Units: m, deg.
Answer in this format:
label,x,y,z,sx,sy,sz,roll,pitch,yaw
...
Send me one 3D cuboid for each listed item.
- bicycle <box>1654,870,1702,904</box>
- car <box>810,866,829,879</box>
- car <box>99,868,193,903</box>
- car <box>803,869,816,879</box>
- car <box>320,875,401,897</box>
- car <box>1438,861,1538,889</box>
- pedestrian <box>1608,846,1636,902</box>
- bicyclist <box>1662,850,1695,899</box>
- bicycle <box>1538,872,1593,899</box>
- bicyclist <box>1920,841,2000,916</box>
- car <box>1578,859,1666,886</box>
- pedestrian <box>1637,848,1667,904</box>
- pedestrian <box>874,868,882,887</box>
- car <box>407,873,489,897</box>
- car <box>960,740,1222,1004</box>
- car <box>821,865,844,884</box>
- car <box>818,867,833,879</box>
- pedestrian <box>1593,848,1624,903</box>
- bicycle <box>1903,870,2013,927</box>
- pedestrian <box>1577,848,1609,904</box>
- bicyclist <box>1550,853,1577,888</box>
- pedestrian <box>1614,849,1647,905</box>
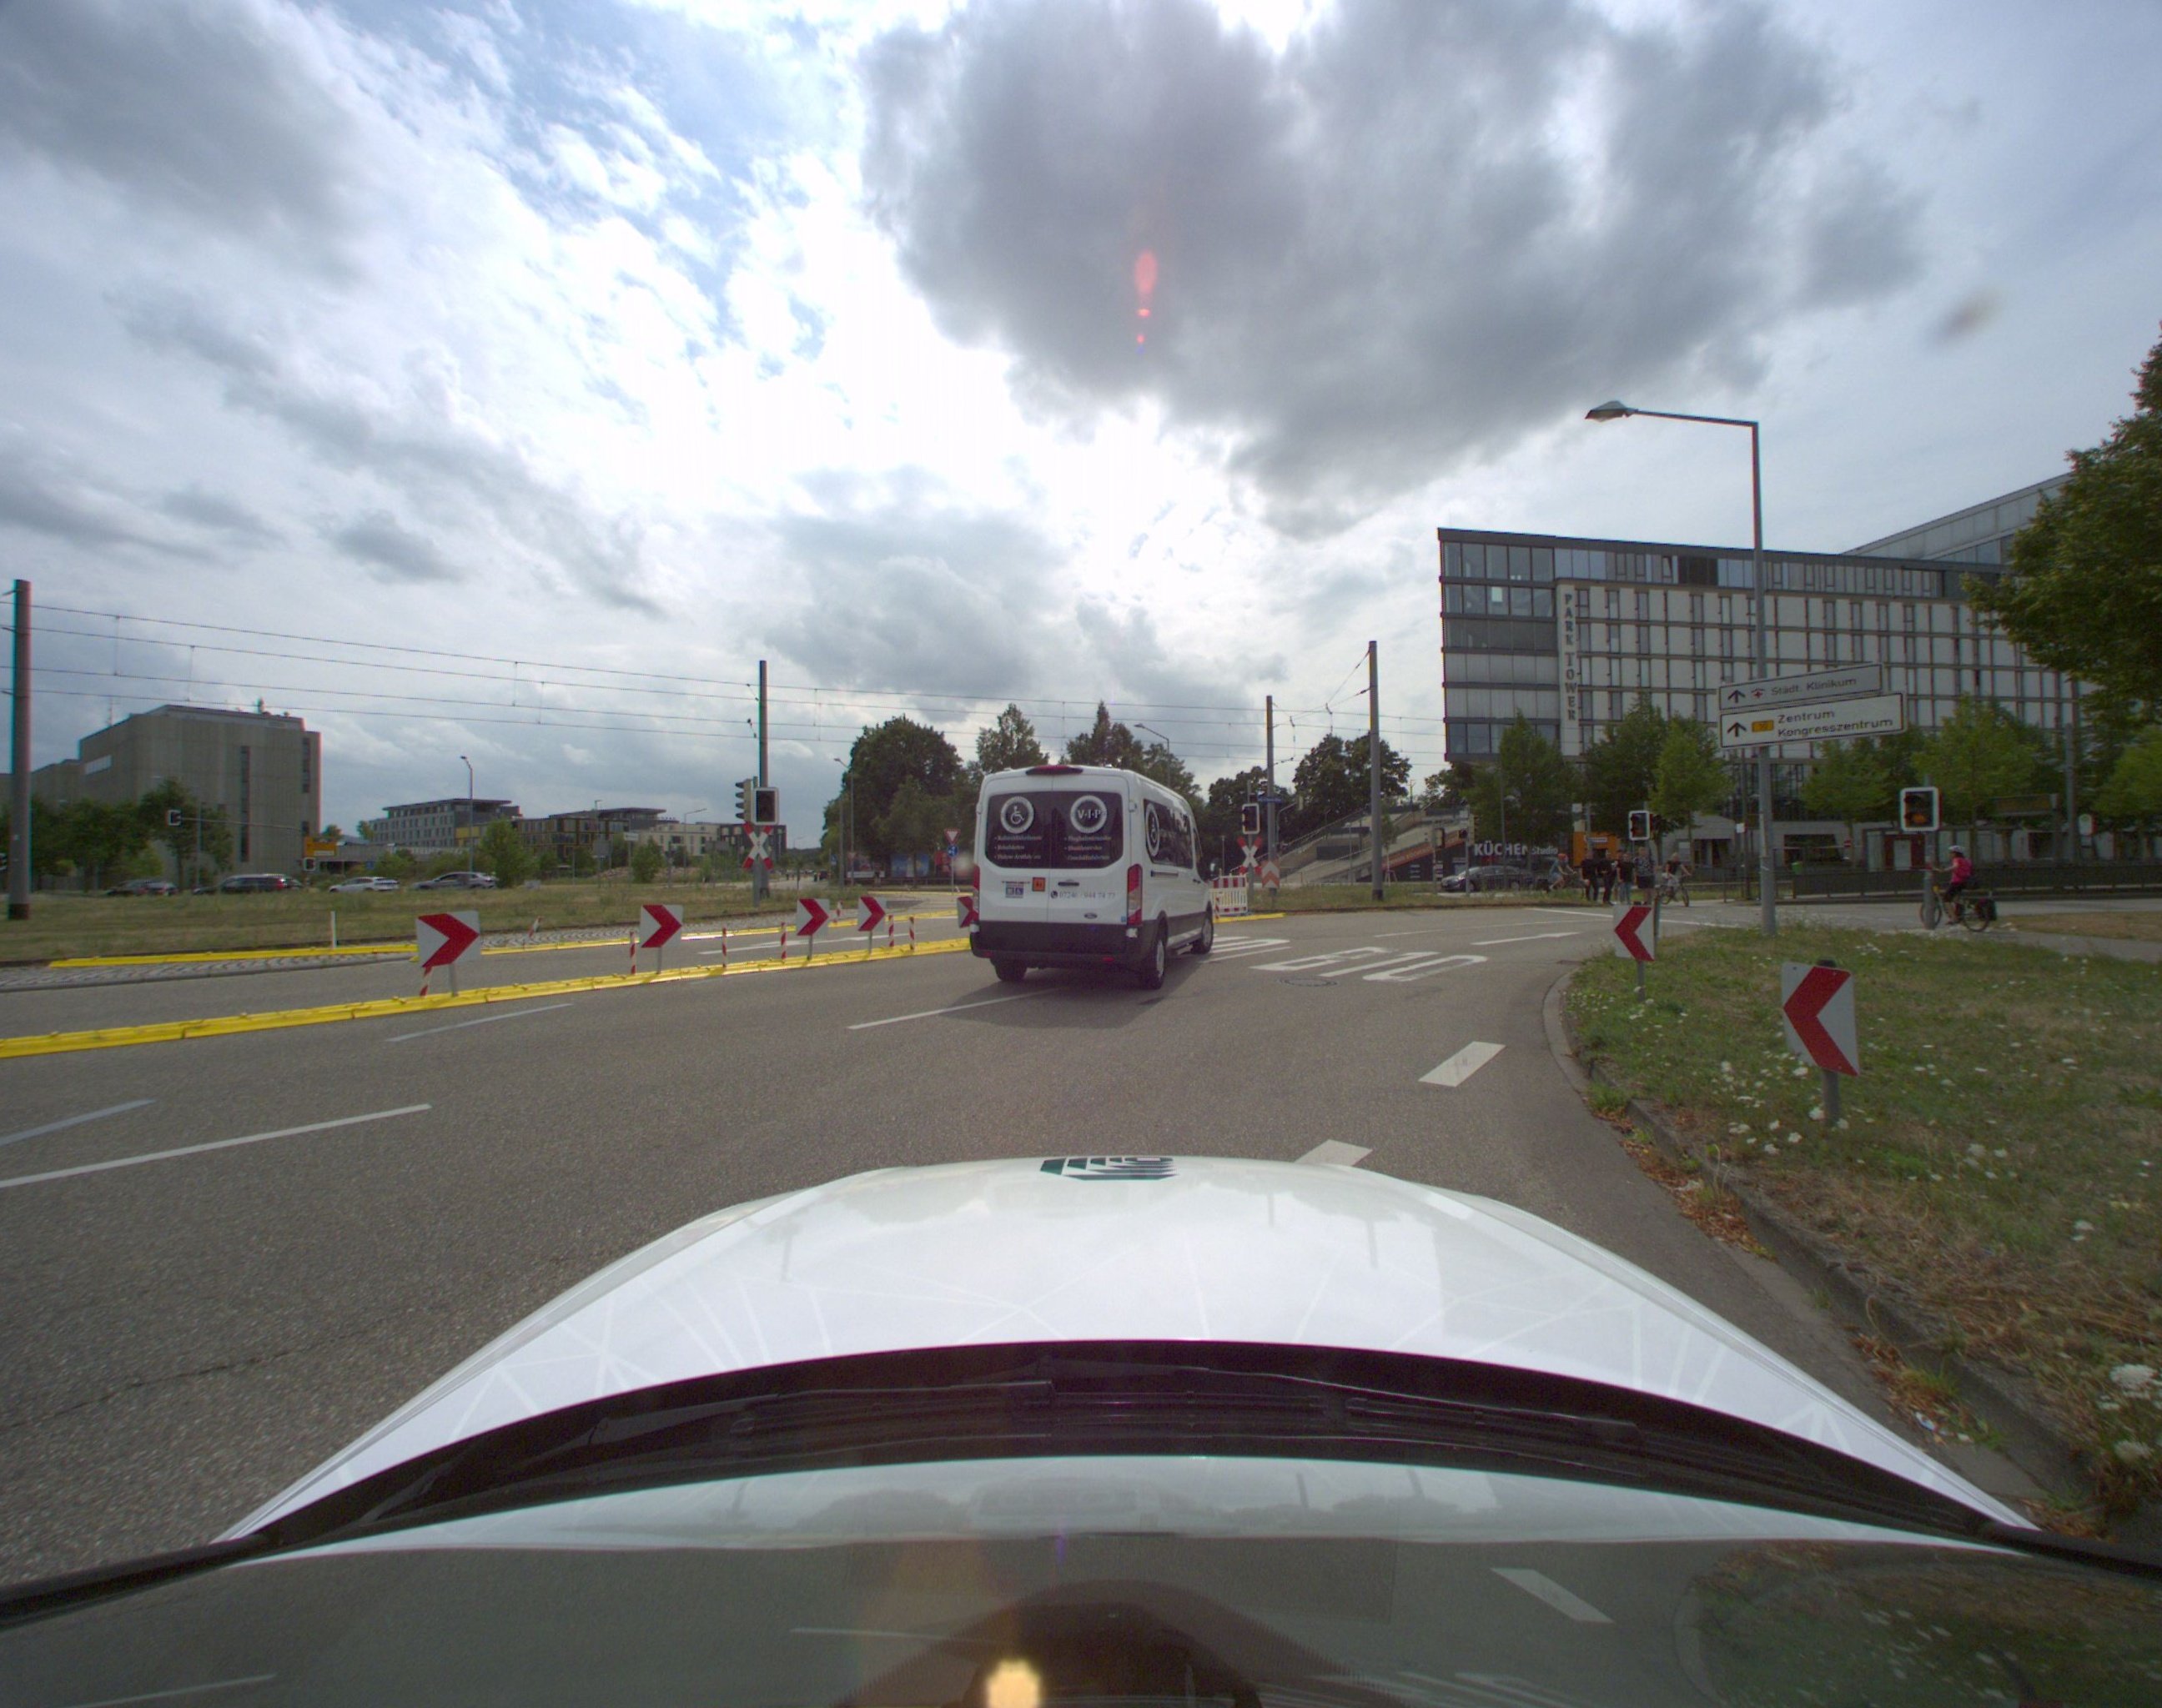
label,x,y,z,sx,sy,sz,roll,pitch,yaw
bicycle,19.697,1.085,26.907,0.544,1.058,1.717,-1,-1,9
car,-38.463,2.763,119.818,1.993,1.849,3.986,0,-2,-10
car,-55.277,1.875,48.165,3.958,2.014,2.007,-1,-2,14
car,-50.901,3.742,152.512,1.997,1.849,3.979,0,-2,-14
car,-50.034,2.223,56.613,3.972,1.464,1.833,-1,-2,1
car,22.348,1.124,44.746,4.720,1.458,1.843,-1,-1,-9
pedestrian,17.997,0.658,27.087,0.530,1.862,0.550,0,-1,-15
bicyclist,19.675,0.661,26.815,0.555,1.580,0.767,-1,-1,9
bicycle,18.707,1.192,31.469,0.655,1.007,1.741,0,-1,-26
bicyclist,19.573,0.535,18.156,0.782,1.627,1.054,-2,-1,21
car,30.935,1.051,46.613,3.984,1.458,1.844,-1,-1,-8
pedestrian,18.417,0.700,26.275,0.579,1.781,0.550,0,-1,-15
pedestrian,-17.942,2.077,71.926,0.443,1.594,0.675,-1,-1,17
car,-41.173,2.022,53.092,4.012,1.464,1.815,0,-2,-30
car,0.520,0.232,11.341,2.110,2.698,5.656,-1,-1,17
car,-27.078,2.224,88.836,2.002,2.014,3.969,0,-2,-23
car,-42.350,3.197,135.057,1.996,1.849,3.981,0,-2,-13
pedestrian,17.343,0.706,26.776,0.632,1.781,0.550,0,-1,-15
bicycle,19.633,0.976,18.300,0.782,1.168,2.051,-2,-1,19
pedestrian,16.648,0.718,26.475,0.689,1.781,0.550,0,-1,-15
bicyclist,18.684,0.628,31.546,0.641,1.317,0.669,0,-1,-25
pedestrian,17.711,0.724,26.264,0.689,1.781,0.550,0,-1,-15
